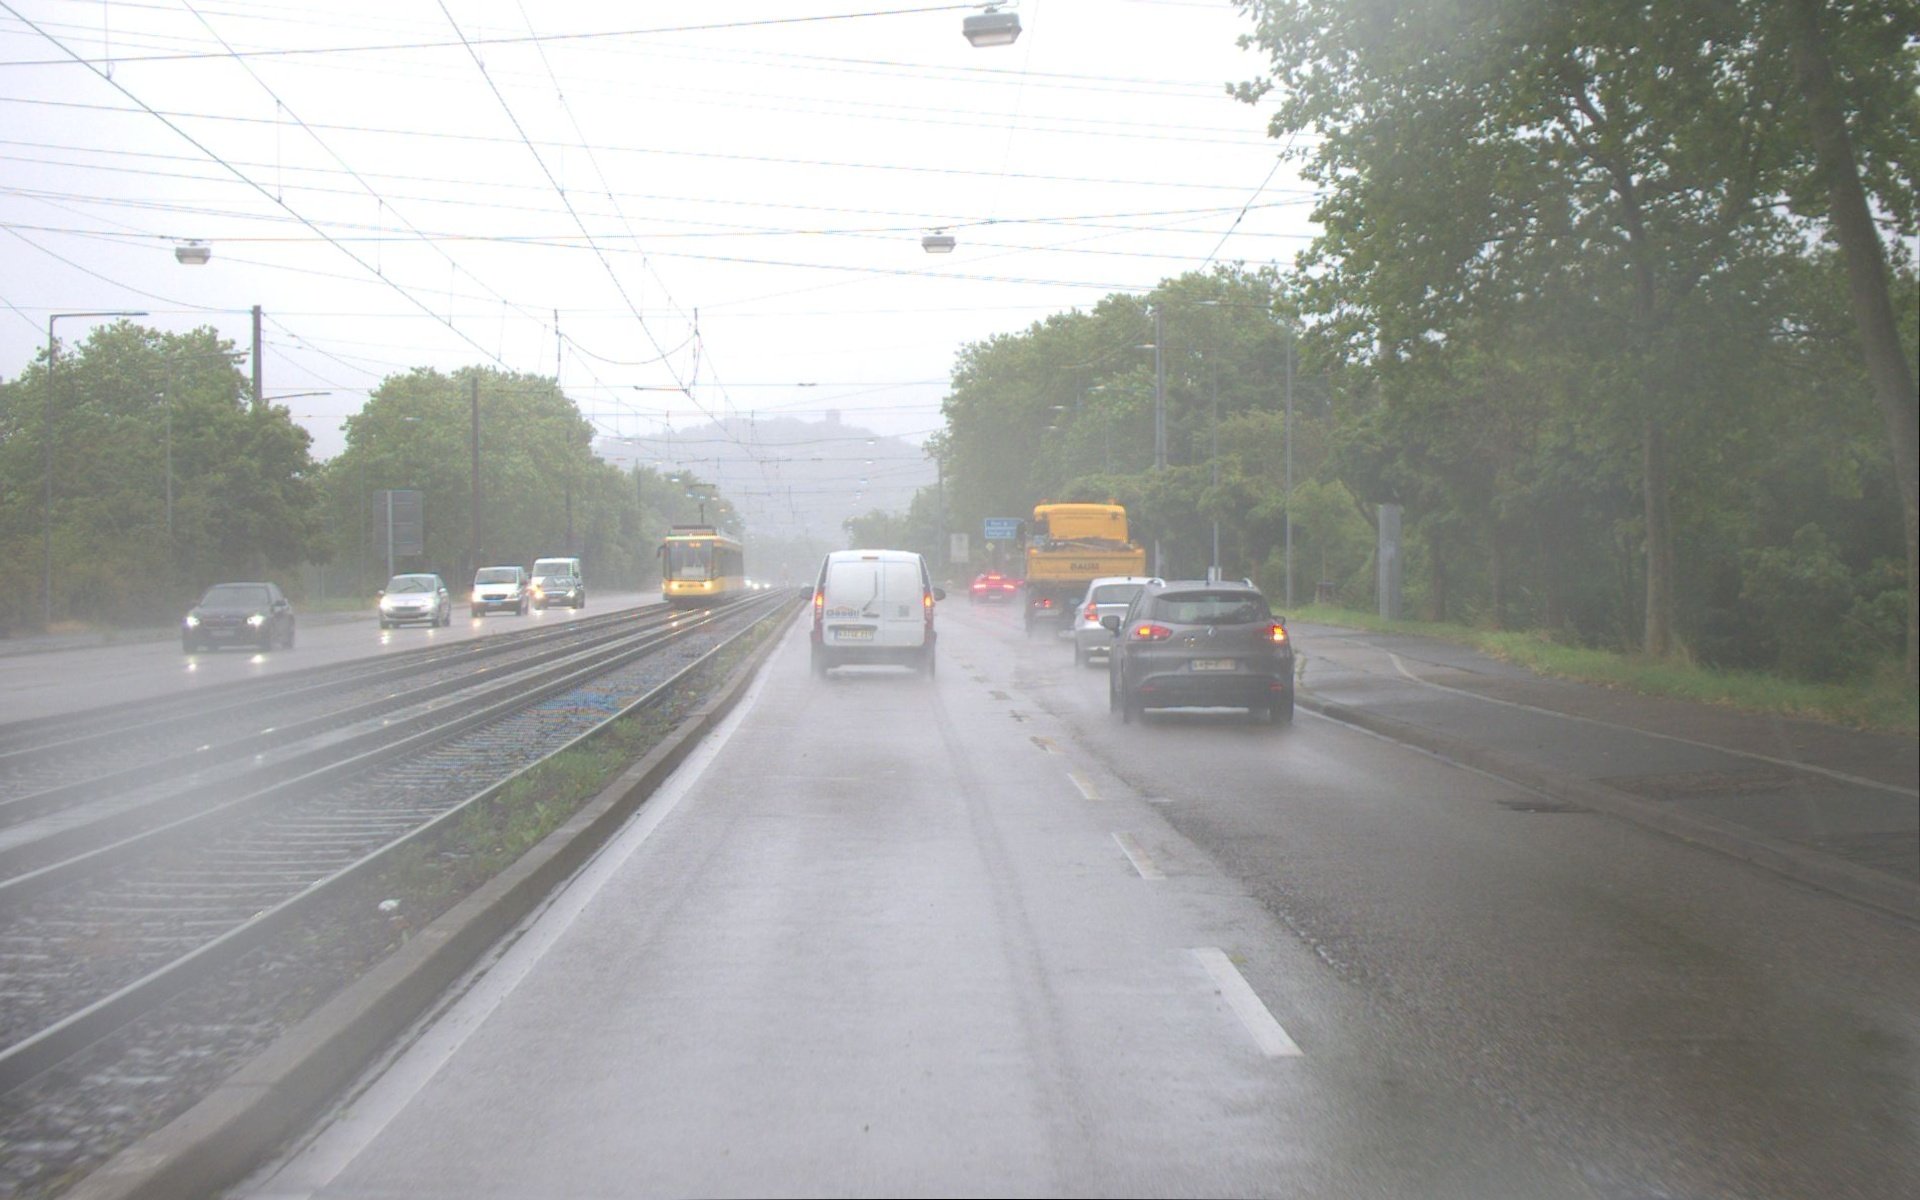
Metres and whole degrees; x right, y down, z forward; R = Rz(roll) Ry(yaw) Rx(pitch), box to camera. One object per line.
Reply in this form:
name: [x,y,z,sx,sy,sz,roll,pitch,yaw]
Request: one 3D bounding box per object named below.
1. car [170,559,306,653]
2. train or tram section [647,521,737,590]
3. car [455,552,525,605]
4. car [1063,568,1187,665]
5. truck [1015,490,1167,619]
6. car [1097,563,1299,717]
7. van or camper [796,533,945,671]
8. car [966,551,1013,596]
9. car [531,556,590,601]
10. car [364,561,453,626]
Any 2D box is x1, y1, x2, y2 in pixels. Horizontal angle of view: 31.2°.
car: [-15.351,0.092,73.308,1.993,1.897,4.000,1,1,1]
train or tram section: [-11.829,-2.032,152.781,2.850,2.884,14.007,-1,1,0]
car: [-17.533,-0.825,128.490,1.993,1.897,4.000,1,1,1]
car: [2.625,0.240,55.330,1.818,1.409,3.779,1,2,0]
truck: [2.872,-1.053,77.199,3.113,2.763,6.330,0,1,-1]
car: [2.400,0.368,35.440,1.818,1.409,3.779,1,2,0]
van or camper: [-1.318,-0.012,48.867,1.993,1.778,4.001,1,2,-3]
car: [1.278,-1.178,149.563,1.993,1.897,4.000,1,1,1]
car: [-17.342,-0.947,149.400,1.993,1.897,4.000,1,1,1]
car: [-16.792,-0.225,104.823,1.993,1.897,4.000,1,1,1]
